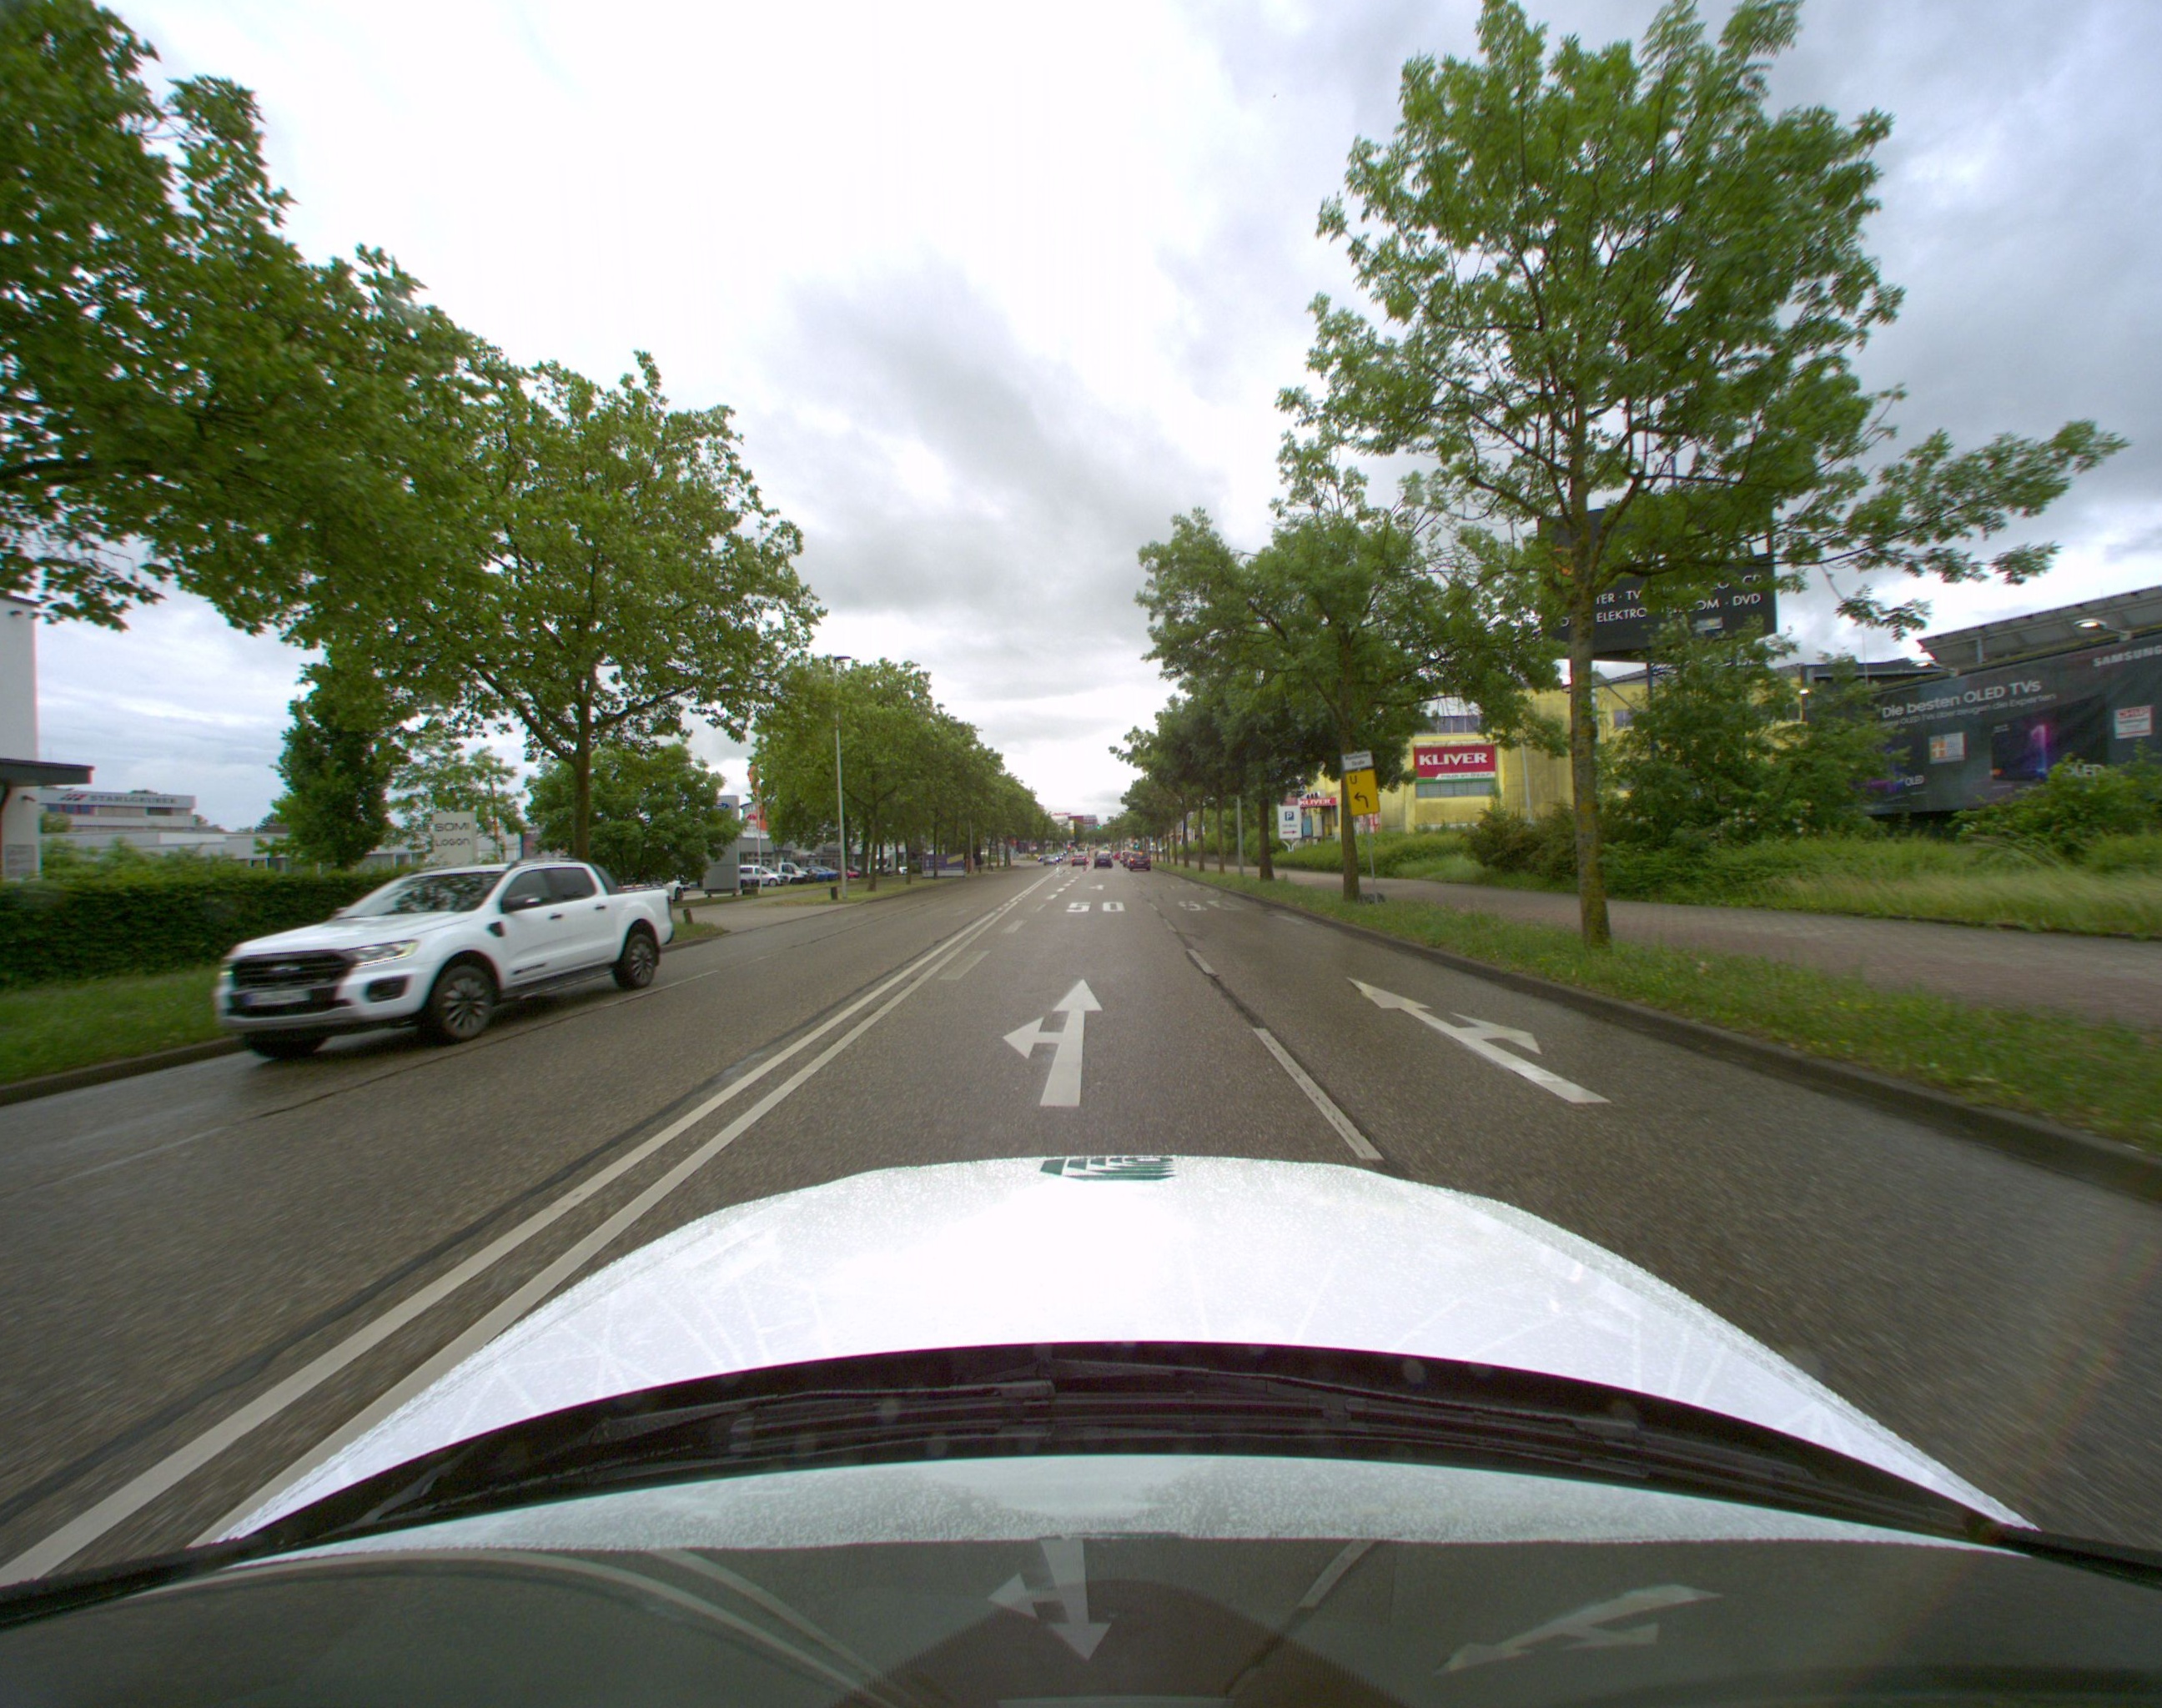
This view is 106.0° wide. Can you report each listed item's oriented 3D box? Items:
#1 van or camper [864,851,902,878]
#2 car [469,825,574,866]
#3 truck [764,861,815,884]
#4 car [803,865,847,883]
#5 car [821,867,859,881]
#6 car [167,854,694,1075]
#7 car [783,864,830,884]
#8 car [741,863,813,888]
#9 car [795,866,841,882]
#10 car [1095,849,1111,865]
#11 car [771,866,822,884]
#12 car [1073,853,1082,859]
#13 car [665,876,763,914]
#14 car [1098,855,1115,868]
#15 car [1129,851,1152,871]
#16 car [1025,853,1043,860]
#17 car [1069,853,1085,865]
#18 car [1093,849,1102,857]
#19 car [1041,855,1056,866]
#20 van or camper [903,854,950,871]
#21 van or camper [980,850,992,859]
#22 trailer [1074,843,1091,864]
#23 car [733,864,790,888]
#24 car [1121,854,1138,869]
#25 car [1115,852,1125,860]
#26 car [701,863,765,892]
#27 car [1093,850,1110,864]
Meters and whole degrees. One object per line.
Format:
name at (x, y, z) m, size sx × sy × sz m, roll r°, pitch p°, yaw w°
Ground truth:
van or camper at (-19.561, 1.000, 80.700) m, size 1.986 × 2.470 × 6.404 m, roll -1°, pitch 0°, yaw 2°
car at (-28.935, -0.441, 42.202) m, size 3.972 × 1.889 × 1.964 m, roll -2°, pitch 0°, yaw 2°
truck at (-26.832, 1.690, 75.123) m, size 3.985 × 1.838 × 1.994 m, roll -3°, pitch 0°, yaw -9°
car at (-26.901, 2.087, 85.684) m, size 3.956 × 1.766 × 1.873 m, roll -2°, pitch 0°, yaw 17°
car at (-28.384, 2.394, 95.912) m, size 3.959 × 1.467 × 1.605 m, roll -2°, pitch 0°, yaw 13°
car at (-6.934, 0.959, 9.765) m, size 1.905 × 1.805 × 5.340 m, roll -4°, pitch 0°, yaw 0°
car at (-27.164, 2.002, 80.504) m, size 3.956 × 1.766 × 1.873 m, roll -2°, pitch 0°, yaw 16°
car at (-26.726, 1.891, 71.807) m, size 5.362 × 1.903 × 2.414 m, roll -2°, pitch 0°, yaw -3°
car at (-26.844, 2.040, 83.110) m, size 3.957 × 1.520 × 1.873 m, roll -2°, pitch 0°, yaw 15°
car at (2.937, 0.426, 109.016) m, size 1.986 × 2.014 × 4.001 m, roll -1°, pitch -1°, yaw 1°
car at (-27.231, 1.991, 78.015) m, size 3.969 × 1.461 × 2.036 m, roll -2°, pitch 0°, yaw 4°
car at (-0.780, 0.423, 181.679) m, size 1.678 × 1.377 × 3.996 m, roll -3°, pitch 0°, yaw -2°
car at (-22.697, 2.517, 50.528) m, size 5.030 × 2.013 × 2.129 m, roll -2°, pitch 0°, yaw -1°
car at (2.991, 0.846, 96.306) m, size 1.678 × 1.377 × 3.996 m, roll -3°, pitch 0°, yaw -2°
car at (5.192, 0.587, 71.747) m, size 1.720 × 1.624 × 4.472 m, roll -2°, pitch 0°, yaw 1°
car at (-11.667, 0.525, 202.848) m, size 3.948 × 1.552 × 1.912 m, roll -3°, pitch 1°, yaw 35°
car at (-0.571, 0.654, 108.469) m, size 1.900 × 1.578 × 4.882 m, roll -3°, pitch 0°, yaw 1°
car at (4.013, -0.207, 197.206) m, size 1.986 × 2.014 × 4.001 m, roll -1°, pitch -1°, yaw 2°
car at (-4.972, 0.998, 124.553) m, size 1.990 × 1.429 × 4.678 m, roll -3°, pitch 0°, yaw -4°
van or camper at (-18.852, 0.991, 99.372) m, size 5.308 × 1.821 × 2.248 m, roll -3°, pitch 0°, yaw -25°
van or camper at (-21.212, 0.095, 181.332) m, size 1.986 × 1.967 × 4.789 m, roll -1°, pitch -1°, yaw 1°
trailer at (0.196, -0.054, 123.657) m, size 2.365 × 2.897 × 5.545 m, roll -3°, pitch 0°, yaw 0°
car at (-26.714, 1.838, 68.171) m, size 3.976 × 1.766 × 1.881 m, roll -2°, pitch 0°, yaw -2°
car at (5.585, 0.820, 93.860) m, size 1.794 × 1.587 × 4.452 m, roll 0°, pitch 0°, yaw 2°
car at (7.231, 0.370, 151.723) m, size 1.689 × 1.443 × 3.991 m, roll -2°, pitch 0°, yaw 2°
car at (-26.489, 1.765, 62.060) m, size 3.976 × 2.013 × 1.881 m, roll -2°, pitch 0°, yaw -2°
car at (2.130, 0.315, 86.246) m, size 1.775 × 1.398 × 4.000 m, roll -1°, pitch 0°, yaw 1°
